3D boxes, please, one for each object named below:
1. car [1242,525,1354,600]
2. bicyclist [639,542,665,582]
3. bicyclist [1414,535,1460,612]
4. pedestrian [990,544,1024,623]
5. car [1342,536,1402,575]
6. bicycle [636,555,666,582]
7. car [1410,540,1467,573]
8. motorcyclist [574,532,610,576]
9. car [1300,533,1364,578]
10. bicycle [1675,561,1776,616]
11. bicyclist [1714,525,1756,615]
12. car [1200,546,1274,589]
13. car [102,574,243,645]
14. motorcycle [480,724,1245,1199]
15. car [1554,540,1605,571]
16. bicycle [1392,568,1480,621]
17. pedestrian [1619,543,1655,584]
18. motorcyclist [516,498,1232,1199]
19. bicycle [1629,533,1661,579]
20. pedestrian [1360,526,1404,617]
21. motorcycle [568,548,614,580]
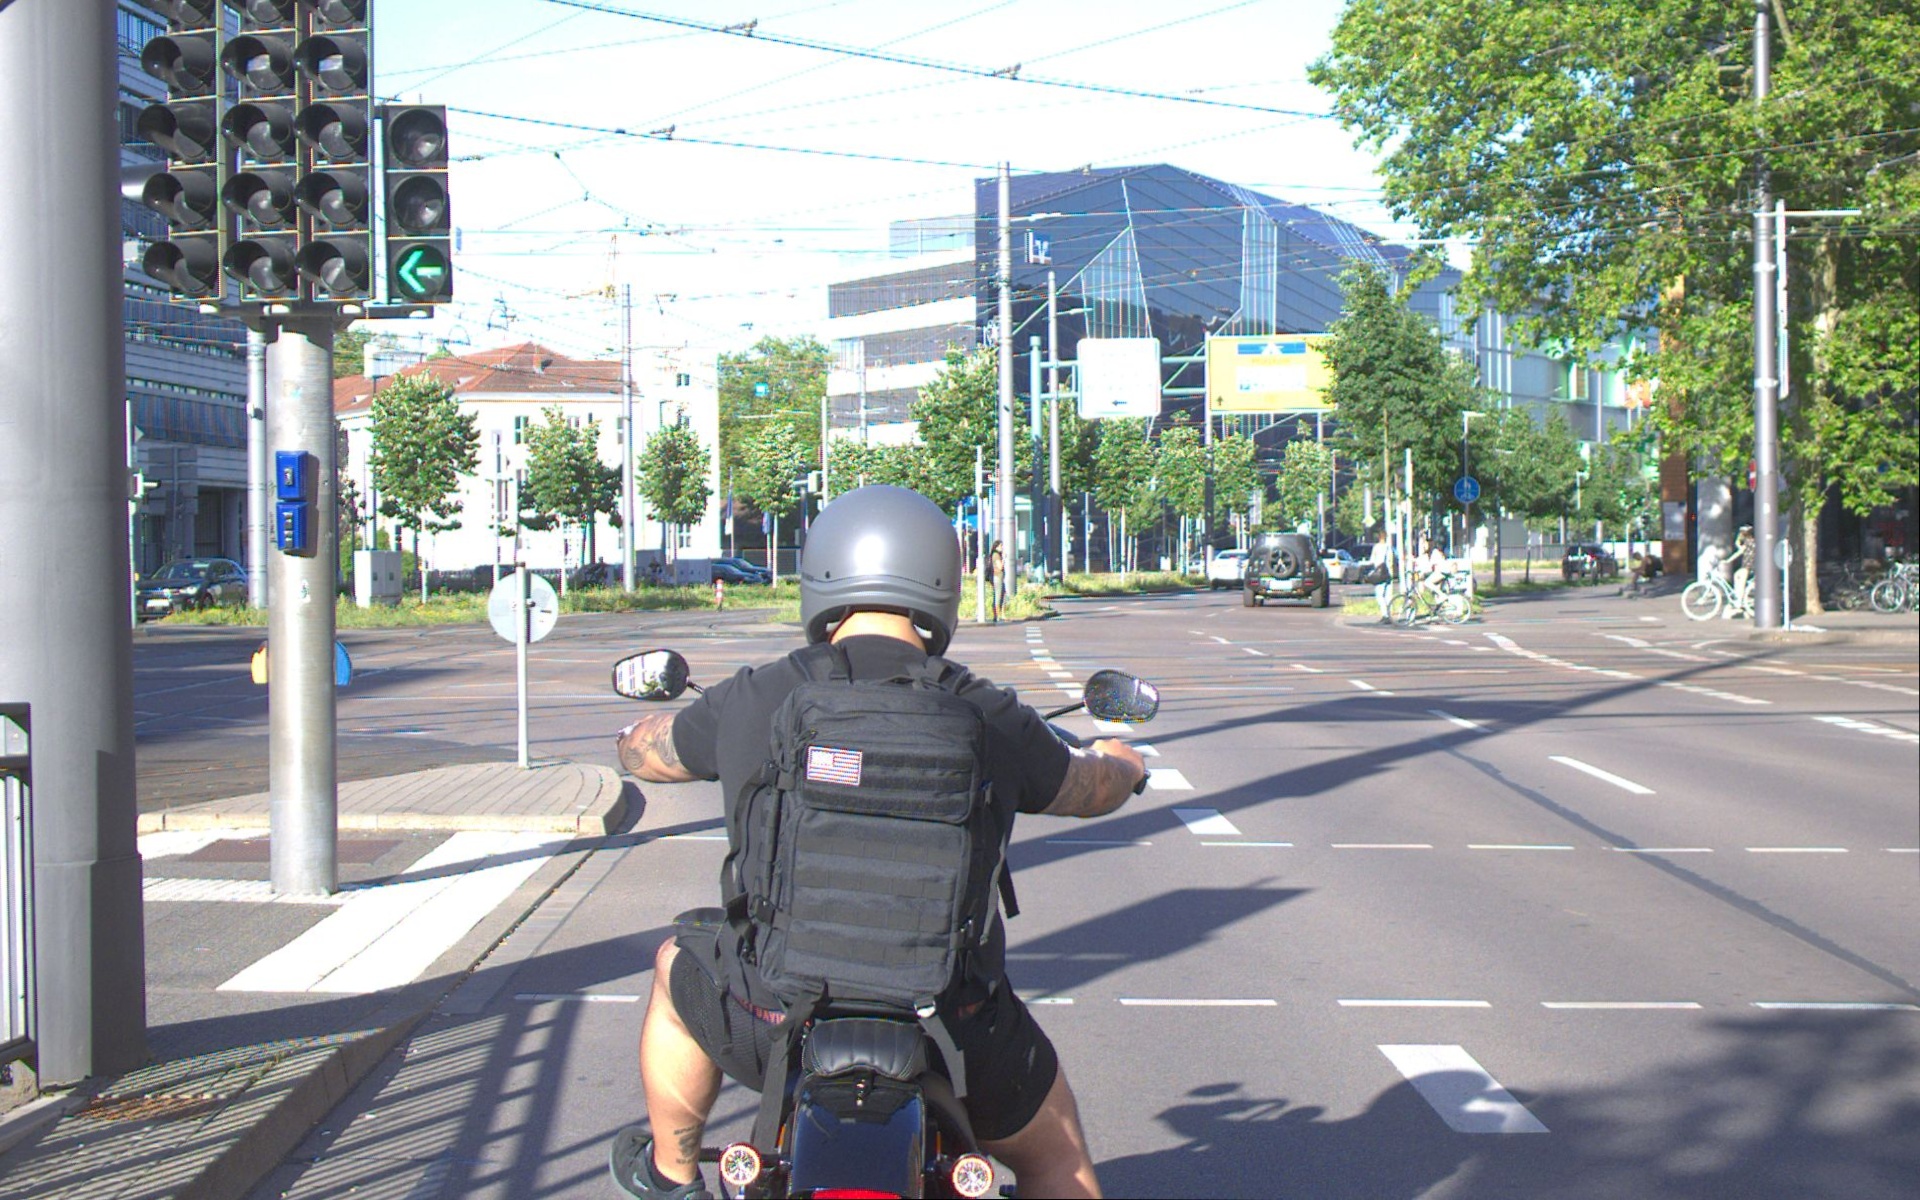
[{"bbox_3d":[8.774,-0.959,89.022,2.055,1.867,4.223,1,1,17],"label":"car"},{"bbox_3d":[-12.877,-1.585,143.763,0.764,1.661,0.993,0,1,17],"label":"bicyclist"},{"bbox_3d":[9.321,-0.517,67.154,0.743,1.498,0.569,-1,0,23],"label":"bicyclist"},{"bbox_3d":[0.955,-0.331,69.069,0.657,1.577,0.489,0,1,3],"label":"pedestrian"},{"bbox_3d":[17.830,-1.925,148.661,1.722,1.651,3.750,0,1,20],"label":"car"},{"bbox_3d":[-12.902,-1.329,143.791,0.643,1.104,1.683,0,1,18],"label":"bicycle"},{"bbox_3d":[21.985,-2.010,157.851,1.722,1.479,3.750,0,1,22],"label":"car"},{"bbox_3d":[-14.441,-1.797,134.923,1.019,1.725,1.460,0,1,11],"label":"motorcyclist"},{"bbox_3d":[15.320,-1.843,141.504,1.821,1.811,3.940,0,1,18],"label":"car"},{"bbox_3d":[14.503,-0.217,65.142,1.853,1.018,0.516,-1,0,11],"label":"bicycle"},{"bbox_3d":[14.675,-0.562,65.084,0.743,1.689,0.570,-1,0,11],"label":"bicyclist"},{"bbox_3d":[10.022,-1.159,124.125,1.903,1.503,3.997,1,1,16],"label":"car"},{"bbox_3d":[-17.956,0.194,78.583,1.792,1.461,4.310,-1,2,6],"label":"car"},{"bbox_3d":[-0.147,0.837,5.713,1.005,1.121,2.323,1,1,-1],"label":"motorcycle"},{"bbox_3d":[30.229,-2.171,167.811,1.843,1.459,3.996,1,1,19],"label":"car"},{"bbox_3d":[9.299,-0.104,67.158,1.629,1.018,0.516,-1,0,23],"label":"bicycle"},{"bbox_3d":[17.864,-0.962,90.672,0.785,1.053,0.813,0,1,22],"label":"pedestrian"},{"bbox_3d":[-0.136,0.621,5.617,1.022,1.547,1.286,1,1,-1],"label":"motorcyclist"},{"bbox_3d":[22.456,-1.451,112.717,0.861,1.476,2.574,0,1,15],"label":"bicycle"},{"bbox_3d":[8.520,-0.578,69.405,0.701,1.830,0.514,1,0,35],"label":"pedestrian"},{"bbox_3d":[-14.474,-1.420,134.851,0.984,1.227,2.941,0,1,11],"label":"motorcycle"}]
